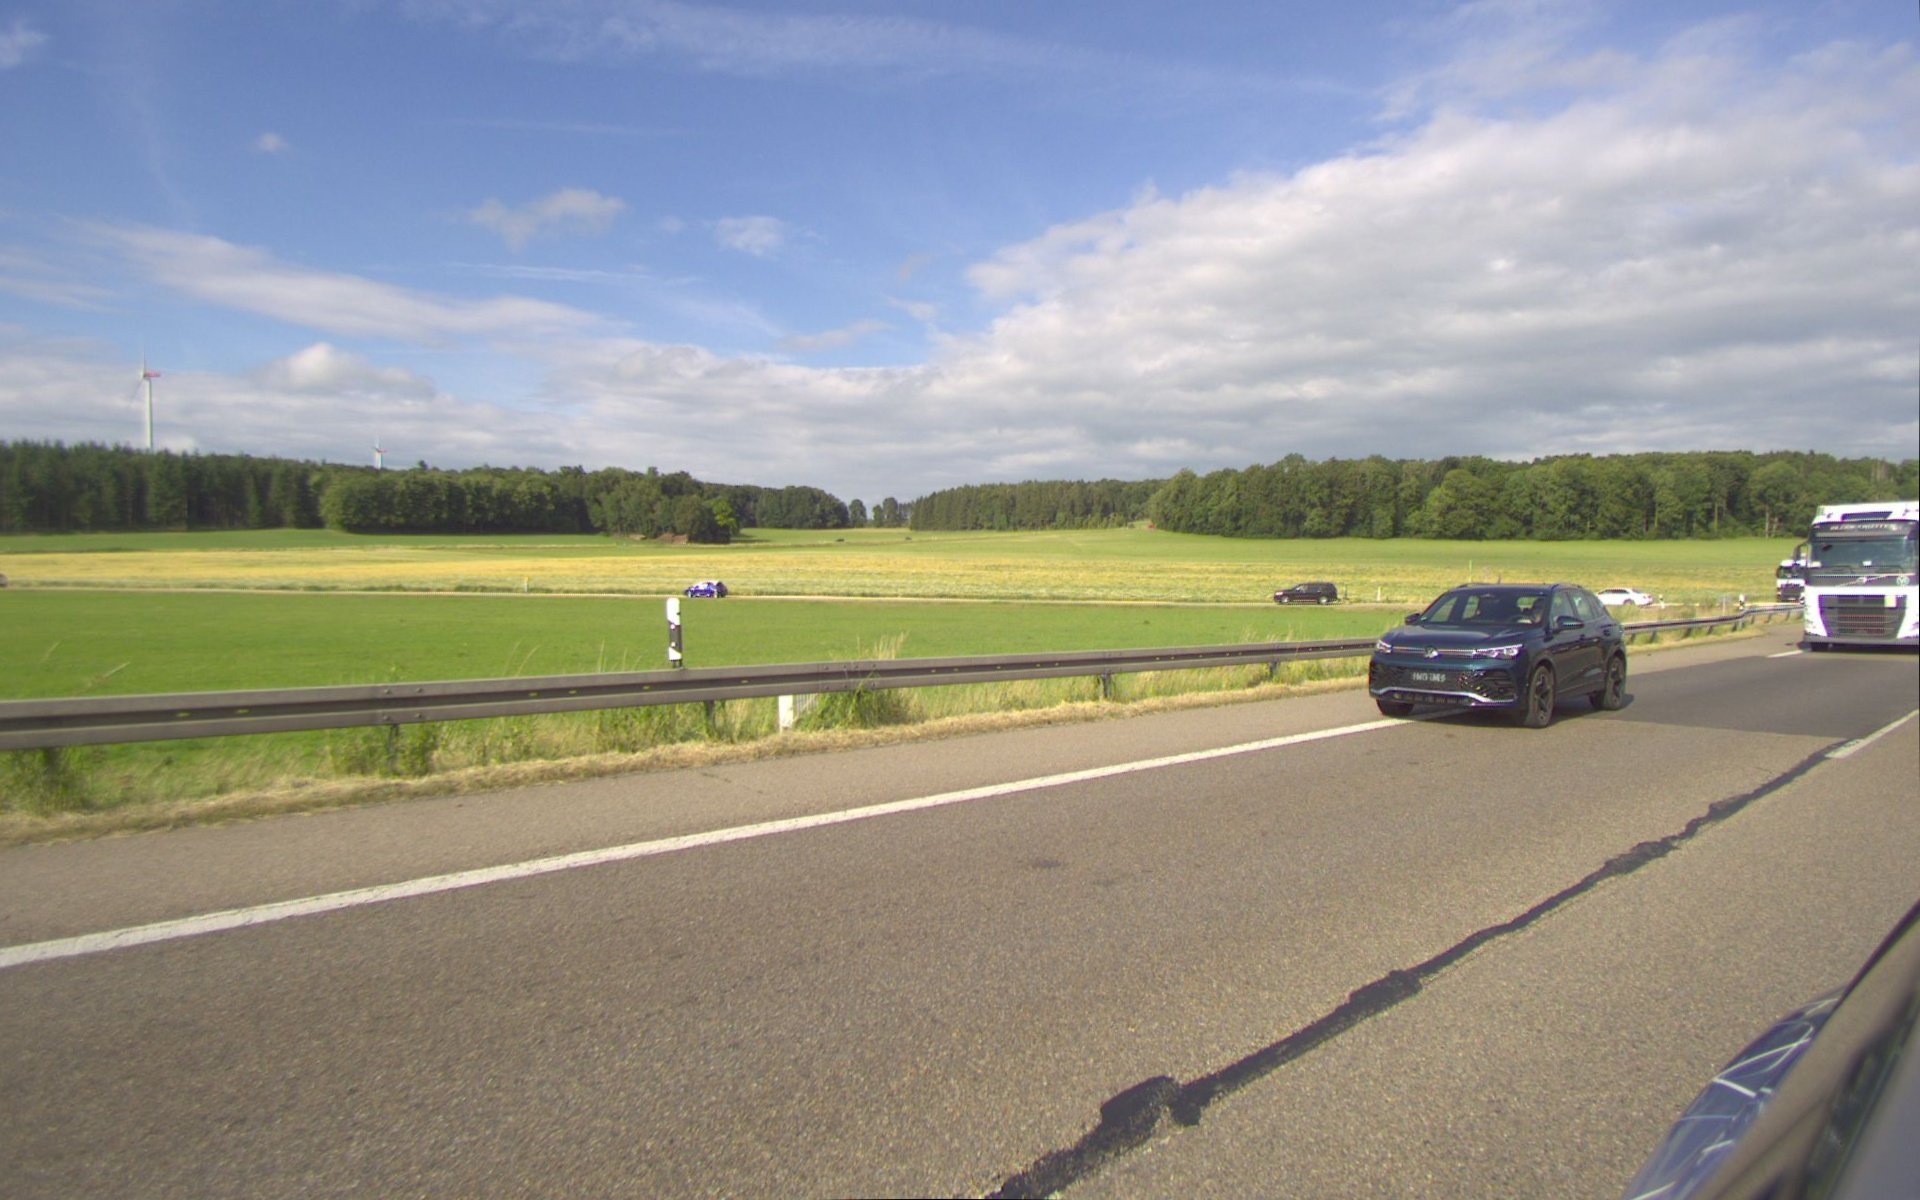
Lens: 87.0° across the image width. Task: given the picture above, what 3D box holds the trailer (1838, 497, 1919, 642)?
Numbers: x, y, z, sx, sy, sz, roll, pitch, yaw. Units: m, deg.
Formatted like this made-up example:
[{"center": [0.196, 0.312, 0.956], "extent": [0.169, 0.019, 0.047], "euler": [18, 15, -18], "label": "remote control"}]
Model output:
[{"center": [31.143, -0.918, 32.158], "extent": [11.910, 4.032, 2.826], "euler": [-1, 1, -39], "label": "trailer"}]

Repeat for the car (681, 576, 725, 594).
[{"center": [-23.216, -1.370, 91.547], "extent": [3.506, 1.549, 1.718], "euler": [0, 0, 13], "label": "car"}]

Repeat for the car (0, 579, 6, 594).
[{"center": [-108.320, -1.503, 112.226], "extent": [3.945, 1.638, 1.989], "euler": [0, 1, 17], "label": "car"}]

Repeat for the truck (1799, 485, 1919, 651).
[{"center": [25.376, -0.822, 27.432], "extent": [6.384, 4.040, 2.842], "euler": [-1, 0, -39], "label": "truck"}]

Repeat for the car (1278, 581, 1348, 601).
[{"center": [28.549, -0.735, 81.985], "extent": [5.038, 1.576, 1.994], "euler": [0, 0, 10], "label": "car"}]

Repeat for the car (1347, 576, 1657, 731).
[{"center": [6.829, 0.517, 12.612], "extent": [4.045, 1.616, 1.998], "euler": [-1, 1, -39], "label": "car"}]

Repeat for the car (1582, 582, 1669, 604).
[{"center": [49.050, -0.555, 74.672], "extent": [1.967, 1.565, 5.069], "euler": [-1, 1, -43], "label": "car"}]
